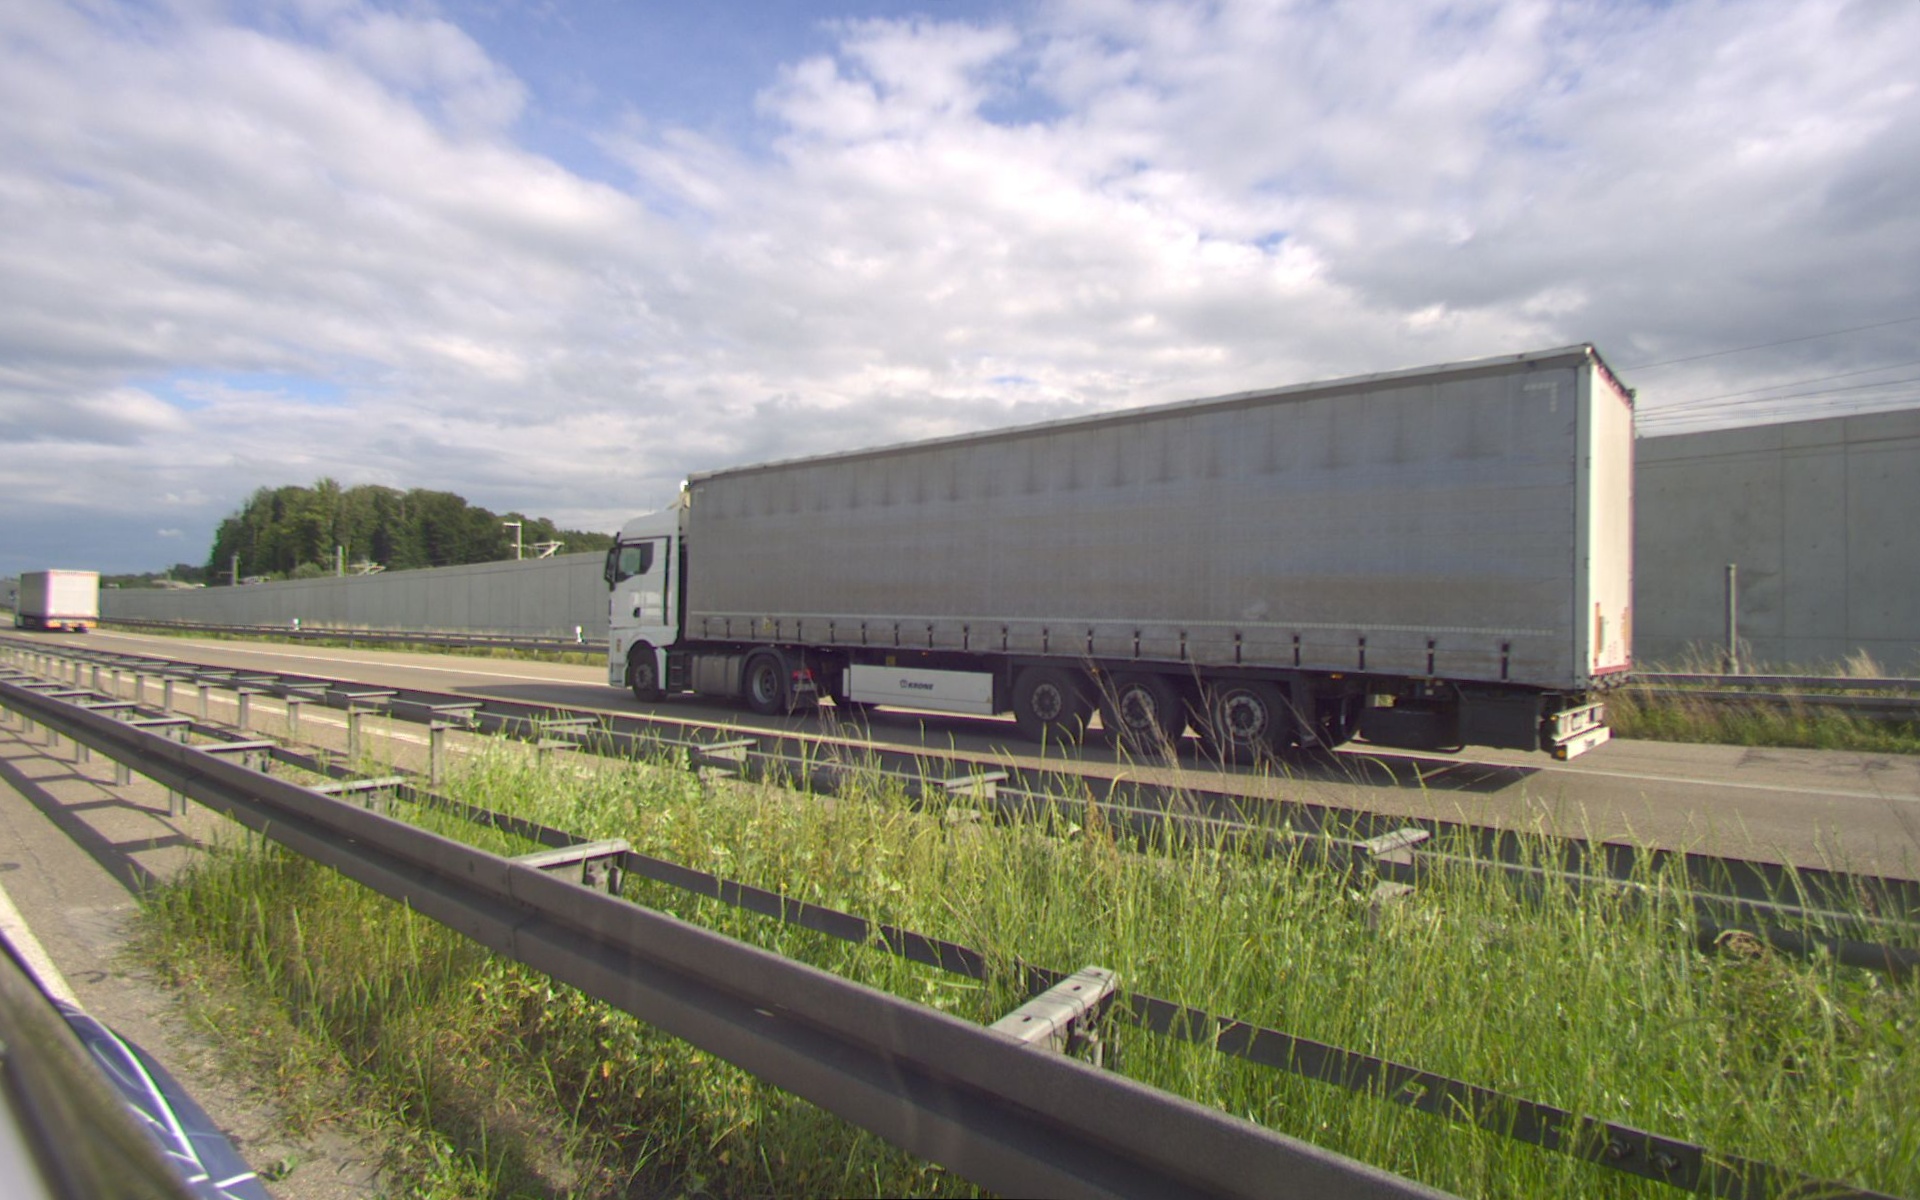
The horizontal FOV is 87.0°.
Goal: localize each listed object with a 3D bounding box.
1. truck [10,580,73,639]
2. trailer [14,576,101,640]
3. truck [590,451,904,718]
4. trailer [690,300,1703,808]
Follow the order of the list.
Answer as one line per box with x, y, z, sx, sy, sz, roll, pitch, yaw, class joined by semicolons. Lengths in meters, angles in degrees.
-67.166;0.737;73.970;5.876;4.099;2.657;-1;-2;41;truck
-62.401;0.639;69.784;13.783;4.069;2.656;-1;-2;41;trailer
-3.983;-0.152;18.424;5.528;4.119;2.747;-1;-3;41;truck
1.506;-0.250;13.628;13.512;4.108;2.761;-1;-3;41;trailer
